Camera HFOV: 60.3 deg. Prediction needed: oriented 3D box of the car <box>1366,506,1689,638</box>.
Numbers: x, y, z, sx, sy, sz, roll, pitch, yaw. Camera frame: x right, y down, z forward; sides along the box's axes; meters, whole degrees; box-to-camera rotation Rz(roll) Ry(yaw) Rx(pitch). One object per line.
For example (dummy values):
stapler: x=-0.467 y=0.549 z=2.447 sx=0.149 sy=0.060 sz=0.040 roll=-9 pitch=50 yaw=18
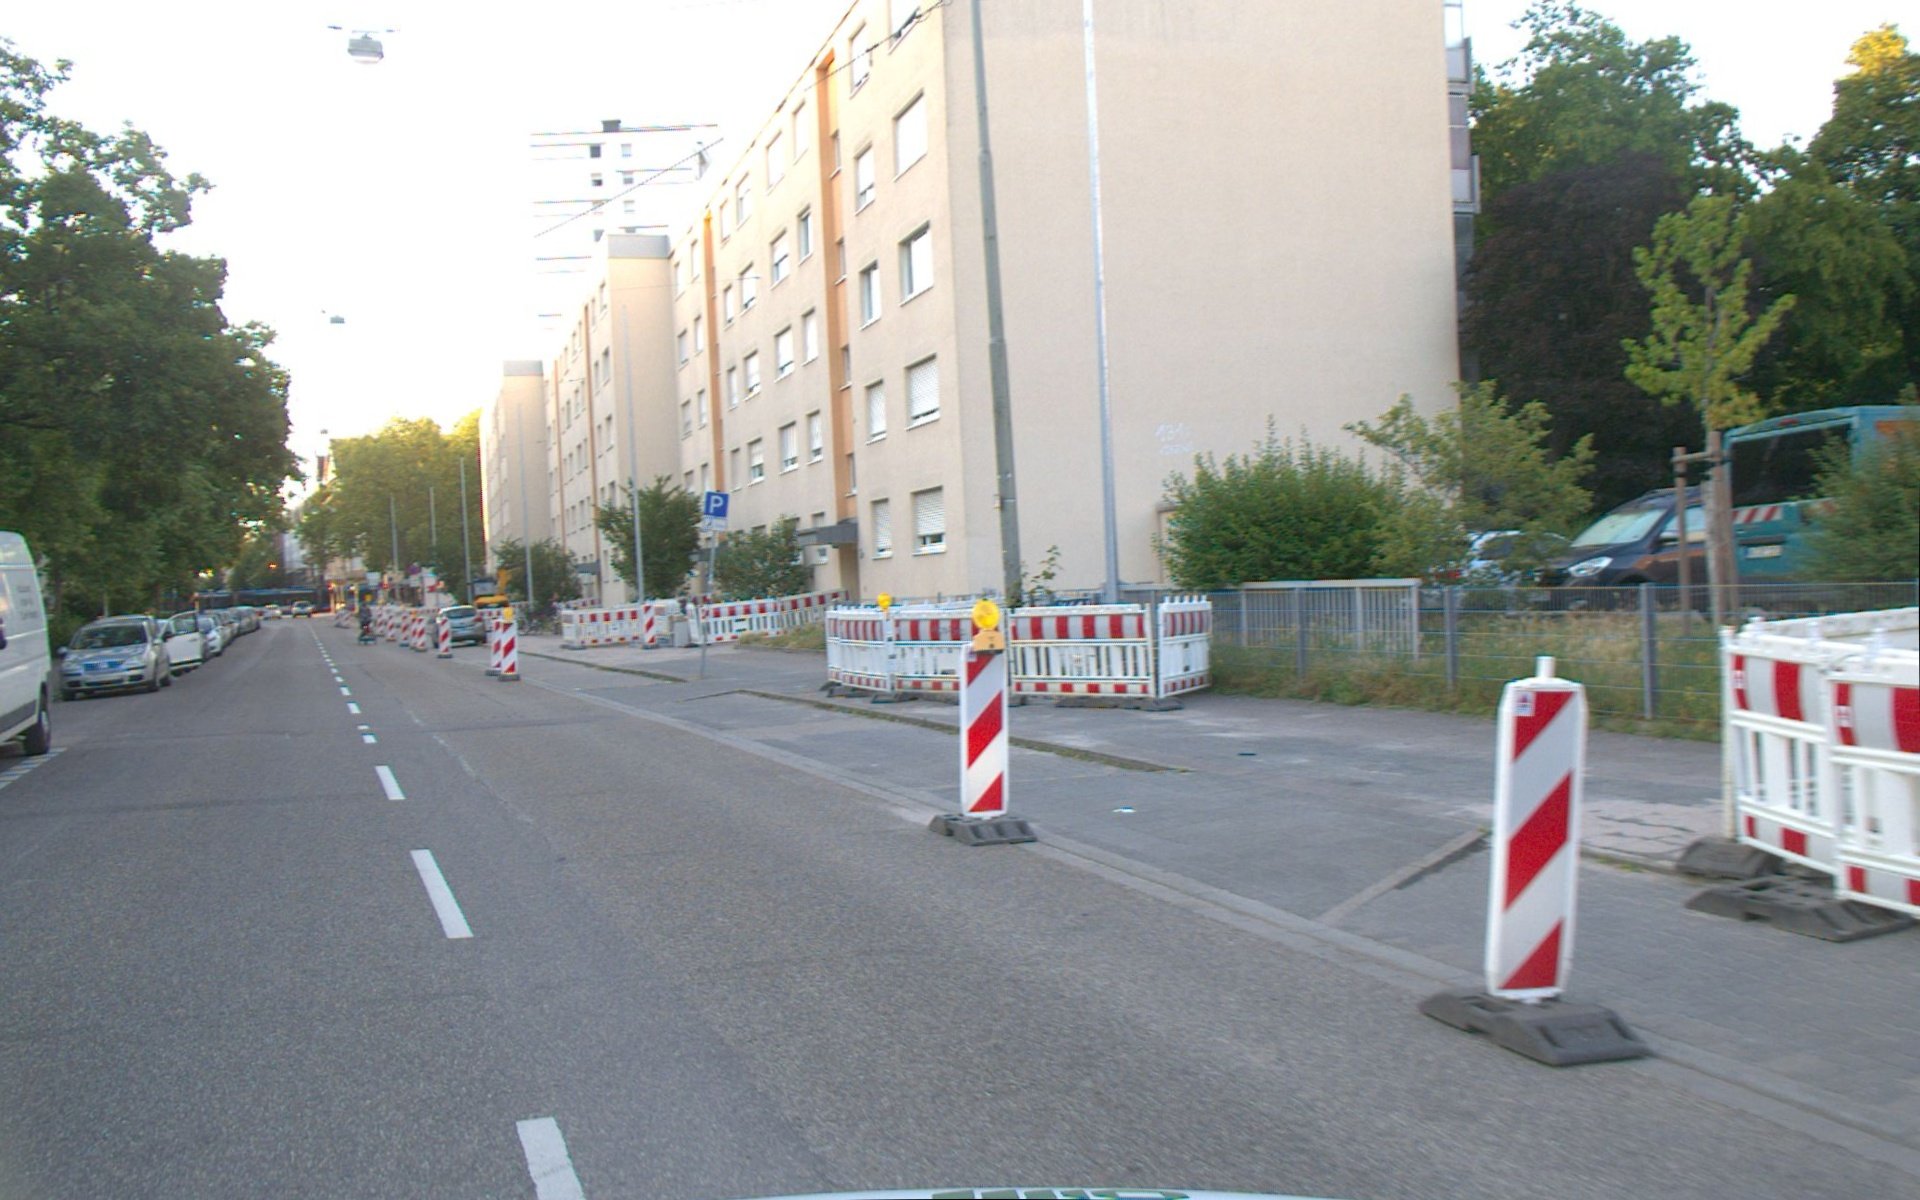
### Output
car: x=8.380 y=-0.421 z=24.487 sx=4.149 sy=1.675 sz=1.989 roll=-3 pitch=1 yaw=-19

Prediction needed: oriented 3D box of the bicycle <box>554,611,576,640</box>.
bicycle: x=-16.350 y=1.040 z=68.500 sx=0.608 sy=1.126 sz=2.222 roll=-3 pitch=1 yaw=-20

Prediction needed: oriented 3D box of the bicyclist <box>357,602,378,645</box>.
bicyclist: x=-25.871 y=1.013 z=72.206 sx=0.780 sy=1.831 sz=1.010 roll=-3 pitch=1 yaw=-22

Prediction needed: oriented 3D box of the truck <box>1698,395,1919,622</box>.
truck: x=10.302 y=-0.978 z=17.200 sx=4.424 sy=2.127 sz=2.104 roll=-3 pitch=1 yaw=-15

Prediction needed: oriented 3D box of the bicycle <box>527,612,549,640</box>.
bicycle: x=-17.405 y=1.064 z=68.220 sx=0.608 sy=1.126 sz=2.222 roll=-3 pitch=1 yaw=-20

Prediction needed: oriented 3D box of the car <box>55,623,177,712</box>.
car: x=-17.361 y=1.337 z=34.185 sx=1.732 sy=1.508 sz=3.902 roll=-6 pitch=2 yaw=-21

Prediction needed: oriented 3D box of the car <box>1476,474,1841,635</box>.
car: x=9.218 y=-0.607 z=21.905 sx=4.149 sy=1.857 sz=1.989 roll=-3 pitch=1 yaw=-19

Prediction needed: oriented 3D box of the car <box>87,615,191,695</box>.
car: x=-19.543 y=1.259 z=39.495 sx=1.732 sy=1.631 sz=3.902 roll=-6 pitch=2 yaw=-21

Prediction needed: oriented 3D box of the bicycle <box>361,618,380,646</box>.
bicycle: x=-25.524 y=1.389 z=71.594 sx=0.632 sy=1.134 sz=3.035 roll=-3 pitch=1 yaw=-21

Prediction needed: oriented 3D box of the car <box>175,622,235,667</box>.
car: x=-28.443 y=1.650 z=62.355 sx=1.732 sy=1.467 sz=3.431 roll=-6 pitch=2 yaw=-21

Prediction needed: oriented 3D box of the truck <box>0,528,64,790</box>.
truck: x=-10.466 y=0.606 z=16.274 sx=2.073 sy=2.464 sz=6.005 roll=-4 pitch=1 yaw=-22

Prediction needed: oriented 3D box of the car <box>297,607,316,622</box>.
car: x=-73.305 y=1.635 z=185.410 sx=1.674 sy=1.467 sz=3.426 roll=-6 pitch=2 yaw=-25

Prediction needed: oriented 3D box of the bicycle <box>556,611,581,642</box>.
bicycle: x=-14.896 y=0.992 z=62.908 sx=0.608 sy=1.126 sz=2.222 roll=-3 pitch=1 yaw=-20

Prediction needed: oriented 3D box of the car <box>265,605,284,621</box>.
car: x=-73.623 y=1.414 z=177.543 sx=1.734 sy=1.467 sz=3.428 roll=-6 pitch=2 yaw=-23

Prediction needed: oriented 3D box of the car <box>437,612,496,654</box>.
car: x=-18.638 y=1.221 z=62.363 sx=1.755 sy=1.414 sz=3.973 roll=-3 pitch=1 yaw=-22
